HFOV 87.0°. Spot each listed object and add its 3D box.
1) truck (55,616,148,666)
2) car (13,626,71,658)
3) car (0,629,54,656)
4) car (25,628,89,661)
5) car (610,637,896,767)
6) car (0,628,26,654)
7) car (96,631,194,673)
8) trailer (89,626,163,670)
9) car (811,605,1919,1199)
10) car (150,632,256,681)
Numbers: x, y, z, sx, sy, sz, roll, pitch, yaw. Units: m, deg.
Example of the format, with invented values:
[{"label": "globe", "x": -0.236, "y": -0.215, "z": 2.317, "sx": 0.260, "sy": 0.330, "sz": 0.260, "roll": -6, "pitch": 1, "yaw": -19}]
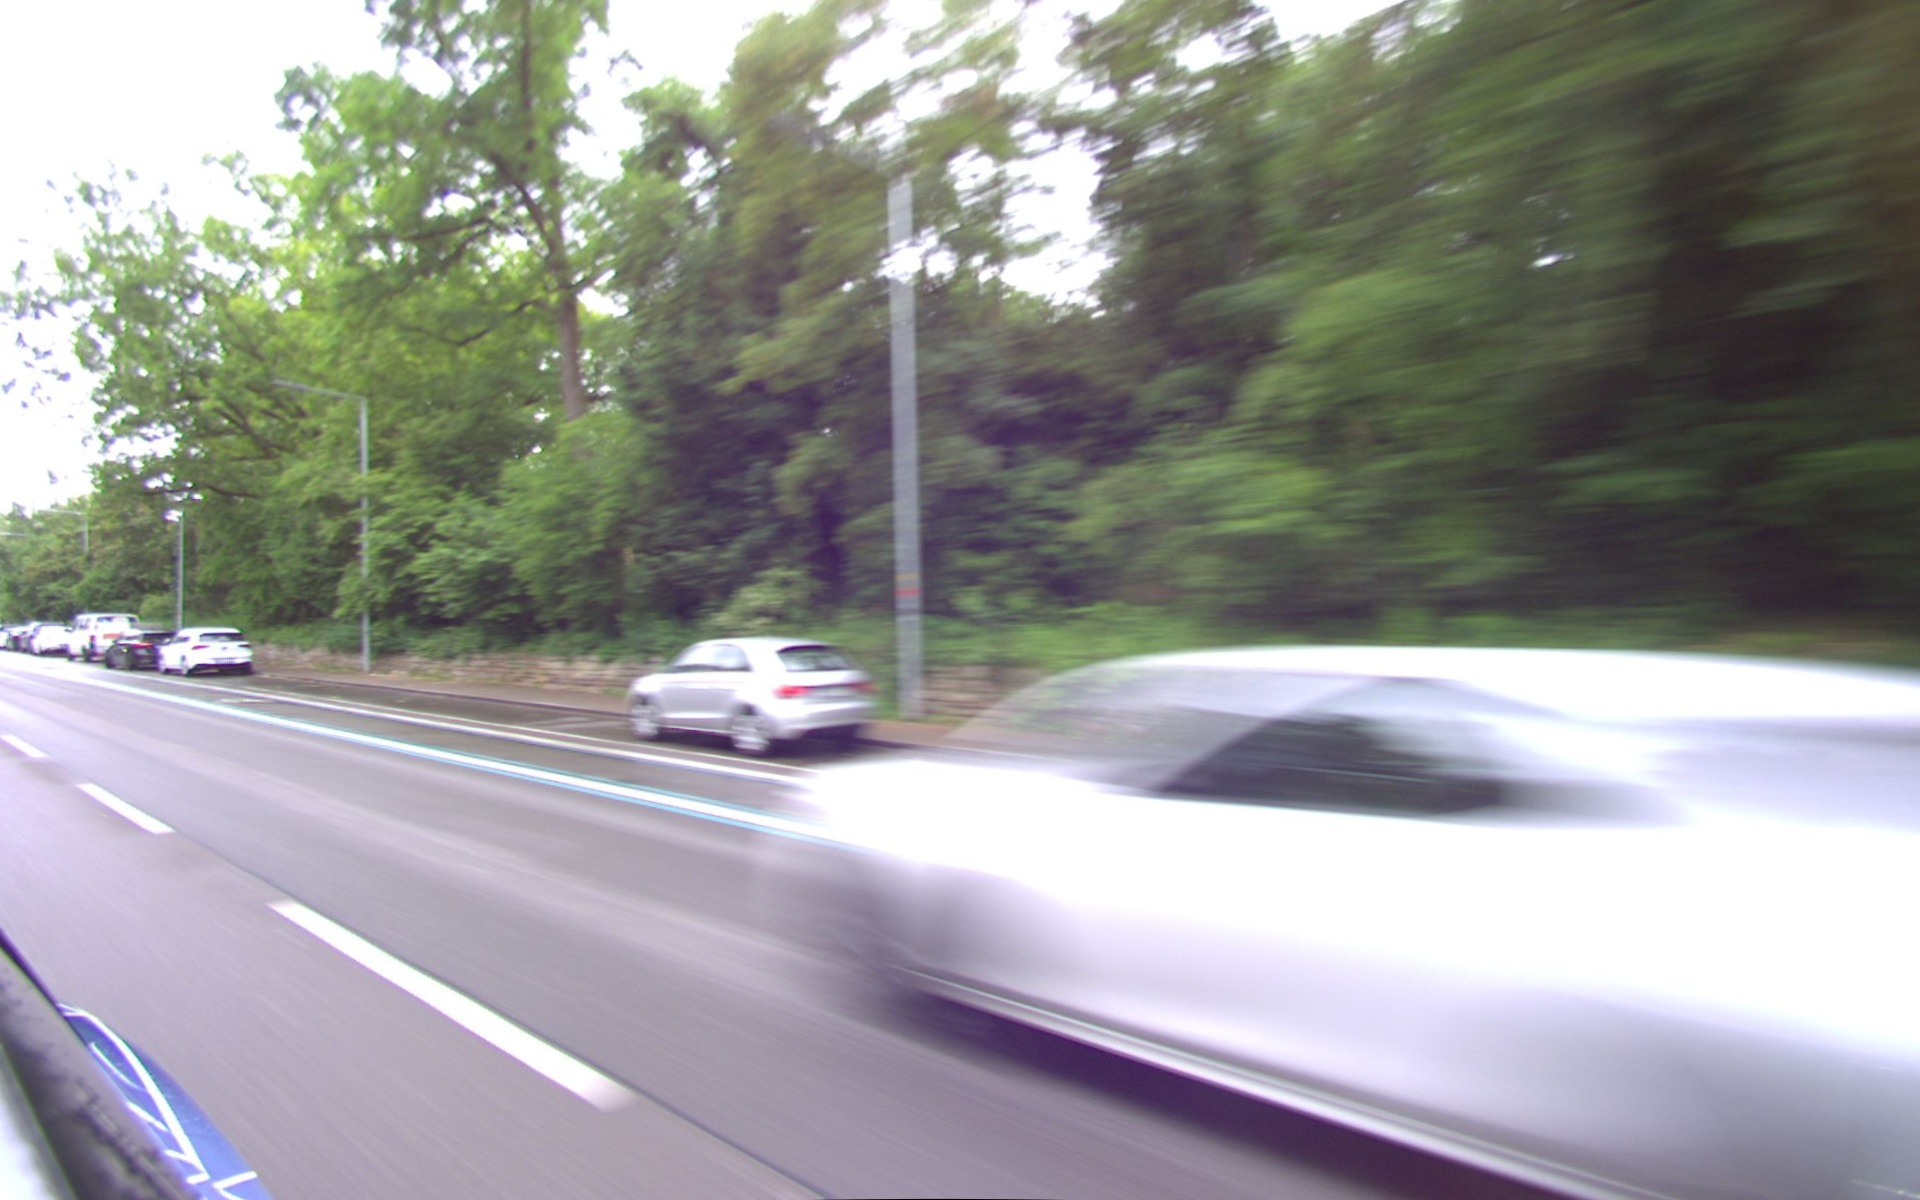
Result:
[{"label": "truck", "x": -36.903, "y": 1.721, "z": 43.458, "sx": 5.152, "sy": 2.029, "sz": 2.073, "roll": -2, "pitch": -2, "yaw": 38}, {"label": "car", "x": -49.417, "y": 2.231, "z": 54.432, "sx": 4.670, "sy": 1.673, "sz": 1.718, "roll": -2, "pitch": -2, "yaw": 40}, {"label": "car", "x": -54.027, "y": 2.443, "z": 58.522, "sx": 4.550, "sy": 1.486, "sz": 1.877, "roll": -2, "pitch": -2, "yaw": 40}, {"label": "car", "x": -44.626, "y": 2.163, "z": 49.992, "sx": 4.751, "sy": 1.509, "sz": 1.787, "roll": -1, "pitch": -2, "yaw": 41}, {"label": "car", "x": -2.860, "y": 1.232, "z": 13.476, "sx": 4.026, "sy": 1.416, "sz": 1.672, "roll": -2, "pitch": -1, "yaw": 42}, {"label": "car", "x": -58.413, "y": 2.501, "z": 61.892, "sx": 2.858, "sy": 1.606, "sz": 1.507, "roll": -2, "pitch": -3, "yaw": 40}, {"label": "car", "x": -29.167, "y": 1.821, "z": 36.181, "sx": 4.439, "sy": 1.409, "sz": 1.803, "roll": -1, "pitch": -2, "yaw": 38}, {"label": "trailer", "x": -32.845, "y": 1.874, "z": 39.914, "sx": 1.329, "sy": 1.670, "sz": 2.271, "roll": 0, "pitch": -1, "yaw": -11}, {"label": "car", "x": 1.557, "y": 0.806, "z": 3.155, "sx": 4.060, "sy": 1.477, "sz": 1.757, "roll": -1, "pitch": -4, "yaw": 41}, {"label": "car", "x": -24.108, "y": 1.752, "z": 32.176, "sx": 4.353, "sy": 1.446, "sz": 1.737, "roll": -2, "pitch": -2, "yaw": 40}]
